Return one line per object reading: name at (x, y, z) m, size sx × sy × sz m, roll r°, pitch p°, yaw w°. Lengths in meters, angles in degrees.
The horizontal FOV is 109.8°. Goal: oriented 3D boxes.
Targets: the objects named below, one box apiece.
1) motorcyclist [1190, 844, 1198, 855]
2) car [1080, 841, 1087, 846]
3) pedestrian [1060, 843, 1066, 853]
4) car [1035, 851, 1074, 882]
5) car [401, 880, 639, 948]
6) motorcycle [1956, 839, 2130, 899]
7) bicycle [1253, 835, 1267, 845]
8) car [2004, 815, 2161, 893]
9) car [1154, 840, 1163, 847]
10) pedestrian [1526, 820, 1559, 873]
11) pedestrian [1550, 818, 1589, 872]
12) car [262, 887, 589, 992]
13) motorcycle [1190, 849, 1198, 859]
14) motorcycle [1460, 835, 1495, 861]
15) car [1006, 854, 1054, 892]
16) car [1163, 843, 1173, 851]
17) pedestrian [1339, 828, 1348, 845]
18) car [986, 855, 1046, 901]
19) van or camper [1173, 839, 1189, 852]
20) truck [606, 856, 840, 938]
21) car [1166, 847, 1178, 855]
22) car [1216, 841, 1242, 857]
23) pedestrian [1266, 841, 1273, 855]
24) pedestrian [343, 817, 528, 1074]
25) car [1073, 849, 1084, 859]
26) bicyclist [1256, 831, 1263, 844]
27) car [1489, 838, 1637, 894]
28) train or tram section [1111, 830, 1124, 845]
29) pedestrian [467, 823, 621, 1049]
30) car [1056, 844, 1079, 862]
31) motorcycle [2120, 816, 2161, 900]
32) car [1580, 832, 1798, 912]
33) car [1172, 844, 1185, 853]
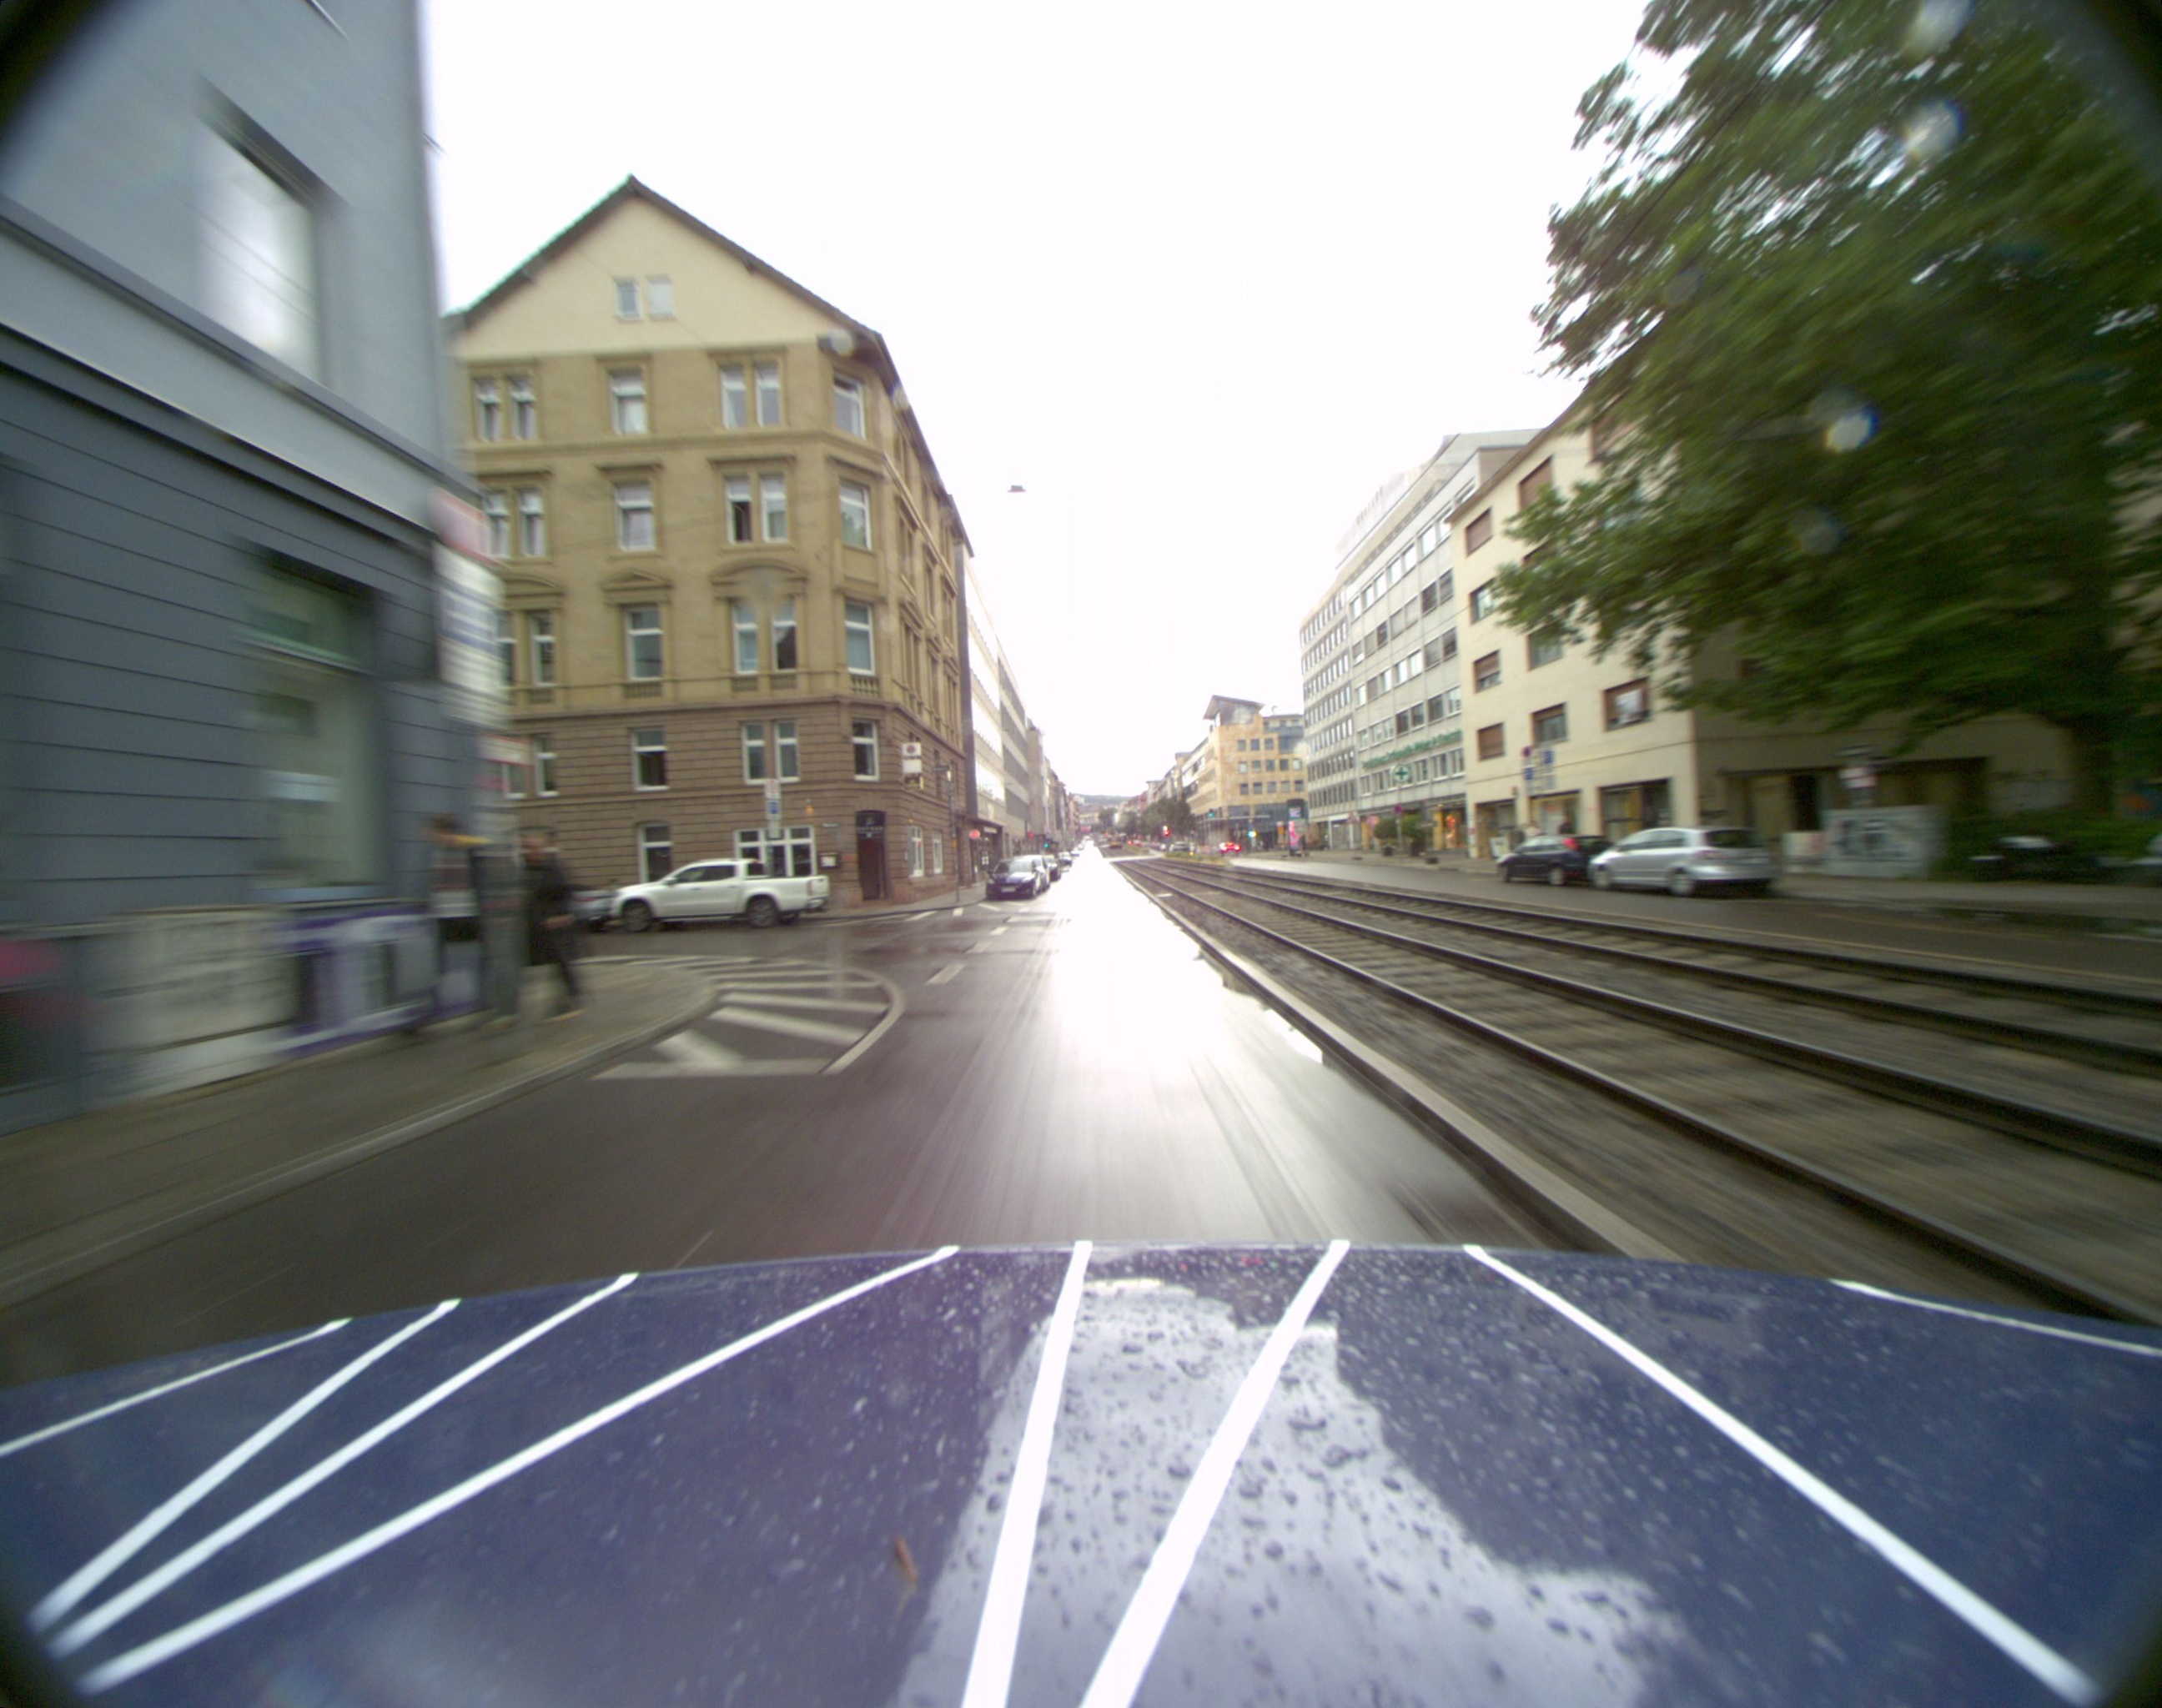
motorcyclist at (12.978, -0.544, 87.414) m, size 0.743 × 1.210 × 0.970 m, roll -4°, pitch 1°, yaw 3°
car at (0.760, -2.848, 206.015) m, size 1.653 × 1.489 × 4.066 m, roll -3°, pitch 1°, yaw 2°
pedestrian at (-3.240, -1.081, 136.327) m, size 0.793 × 1.650 × 0.721 m, roll -4°, pitch 2°, yaw 1°
car at (-1.503, 0.682, 44.793) m, size 1.998 × 1.585 × 4.571 m, roll -3°, pitch 1°, yaw 2°
car at (-14.477, 1.529, 19.846) m, size 4.571 × 1.399 × 2.094 m, roll -2°, pitch 0°, yaw -1°
motorcycle at (18.478, 0.260, 14.684) m, size 0.640 × 1.027 × 2.119 m, roll -4°, pitch 1°, yaw 0°
bicycle at (26.290, -2.057, 111.684) m, size 1.768 × 1.303 × 0.659 m, roll -5°, pitch 2°, yaw 0°
car at (21.146, -0.029, 14.579) m, size 1.998 × 1.446 × 4.000 m, roll -2°, pitch 0°, yaw 0°
car at (17.825, -2.381, 175.614) m, size 1.653 × 1.532 × 4.621 m, roll -3°, pitch 1°, yaw 2°
pedestrian at (16.735, -0.270, 27.582) m, size 0.680 × 1.885 × 0.742 m, roll -4°, pitch 1°, yaw 1°
pedestrian at (17.684, -0.318, 27.525) m, size 0.729 × 1.885 × 0.983 m, roll -4°, pitch 1°, yaw 1°
car at (-10.908, 1.395, 12.835) m, size 3.996 × 1.422 × 1.787 m, roll -2°, pitch 0°, yaw 3°
motorcycle at (13.016, -0.015, 87.470) m, size 0.744 × 1.053 × 1.931 m, roll -4°, pitch 1°, yaw 3°
motorcycle at (19.676, -0.310, 37.729) m, size 1.480 × 1.173 × 0.386 m, roll -4°, pitch 1°, yaw 0°
car at (-2.227, 0.788, 34.142) m, size 1.750 × 1.514 × 4.355 m, roll -3°, pitch 0°, yaw 1°
car at (17.402, -1.444, 152.313) m, size 1.653 × 1.489 × 4.192 m, roll -3°, pitch 1°, yaw 2°
pedestrian at (28.468, -1.884, 82.508) m, size 0.566 × 1.812 × 0.844 m, roll -4°, pitch 1°, yaw -3°
car at (-2.418, 0.861, 29.243) m, size 1.724 × 1.507 × 4.259 m, roll -3°, pitch 0°, yaw 2°
van or camper at (17.039, -1.410, 129.167) m, size 2.022 × 1.986 × 5.196 m, roll -3°, pitch 2°, yaw 1°
truck at (-9.225, 1.064, 19.937) m, size 5.072 × 1.808 × 2.083 m, roll -2°, pitch 0°, yaw -2°
car at (17.578, -0.617, 147.355) m, size 1.693 × 1.477 × 3.999 m, roll -3°, pitch 0°, yaw 0°
car at (15.316, -0.530, 78.726) m, size 1.998 × 1.510 × 4.444 m, roll -4°, pitch 1°, yaw 4°
pedestrian at (25.016, -0.831, 100.893) m, size 0.677 × 1.771 × 0.705 m, roll -3°, pitch 1°, yaw 36°
pedestrian at (-5.421, 0.731, 6.440) m, size 0.738 × 2.002 × 0.821 m, roll -3°, pitch 0°, yaw 0°
car at (-0.425, -0.043, 137.910) m, size 2.029 × 1.585 × 4.619 m, roll -3°, pitch 1°, yaw 0°
bicyclist at (26.304, -2.382, 111.842) m, size 0.710 × 1.794 × 0.784 m, roll -5°, pitch 1°, yaw 1°
car at (14.135, 0.300, 22.597) m, size 1.748 × 1.460 × 4.219 m, roll -2°, pitch 1°, yaw 1°
train or tram section at (10.596, -4.798, 220.307) m, size 2.909 × 4.028 × 18.762 m, roll -3°, pitch 2°, yaw 1°
pedestrian at (-4.712, 0.684, 6.725) m, size 0.663 × 1.841 × 0.821 m, roll -3°, pitch 0°, yaw 0°
car at (-1.284, -0.098, 75.317) m, size 1.998 × 1.585 × 4.270 m, roll -3°, pitch 1°, yaw 2°
motorcycle at (18.226, 0.067, 12.010) m, size 0.640 × 1.371 × 2.119 m, roll -4°, pitch 1°, yaw 0°
car at (13.932, 0.350, 17.791) m, size 1.726 × 1.561 × 4.219 m, roll -4°, pitch 1°, yaw 1°
car at (17.510, -0.956, 136.893) m, size 1.693 × 1.477 × 4.255 m, roll -3°, pitch 0°, yaw 0°
